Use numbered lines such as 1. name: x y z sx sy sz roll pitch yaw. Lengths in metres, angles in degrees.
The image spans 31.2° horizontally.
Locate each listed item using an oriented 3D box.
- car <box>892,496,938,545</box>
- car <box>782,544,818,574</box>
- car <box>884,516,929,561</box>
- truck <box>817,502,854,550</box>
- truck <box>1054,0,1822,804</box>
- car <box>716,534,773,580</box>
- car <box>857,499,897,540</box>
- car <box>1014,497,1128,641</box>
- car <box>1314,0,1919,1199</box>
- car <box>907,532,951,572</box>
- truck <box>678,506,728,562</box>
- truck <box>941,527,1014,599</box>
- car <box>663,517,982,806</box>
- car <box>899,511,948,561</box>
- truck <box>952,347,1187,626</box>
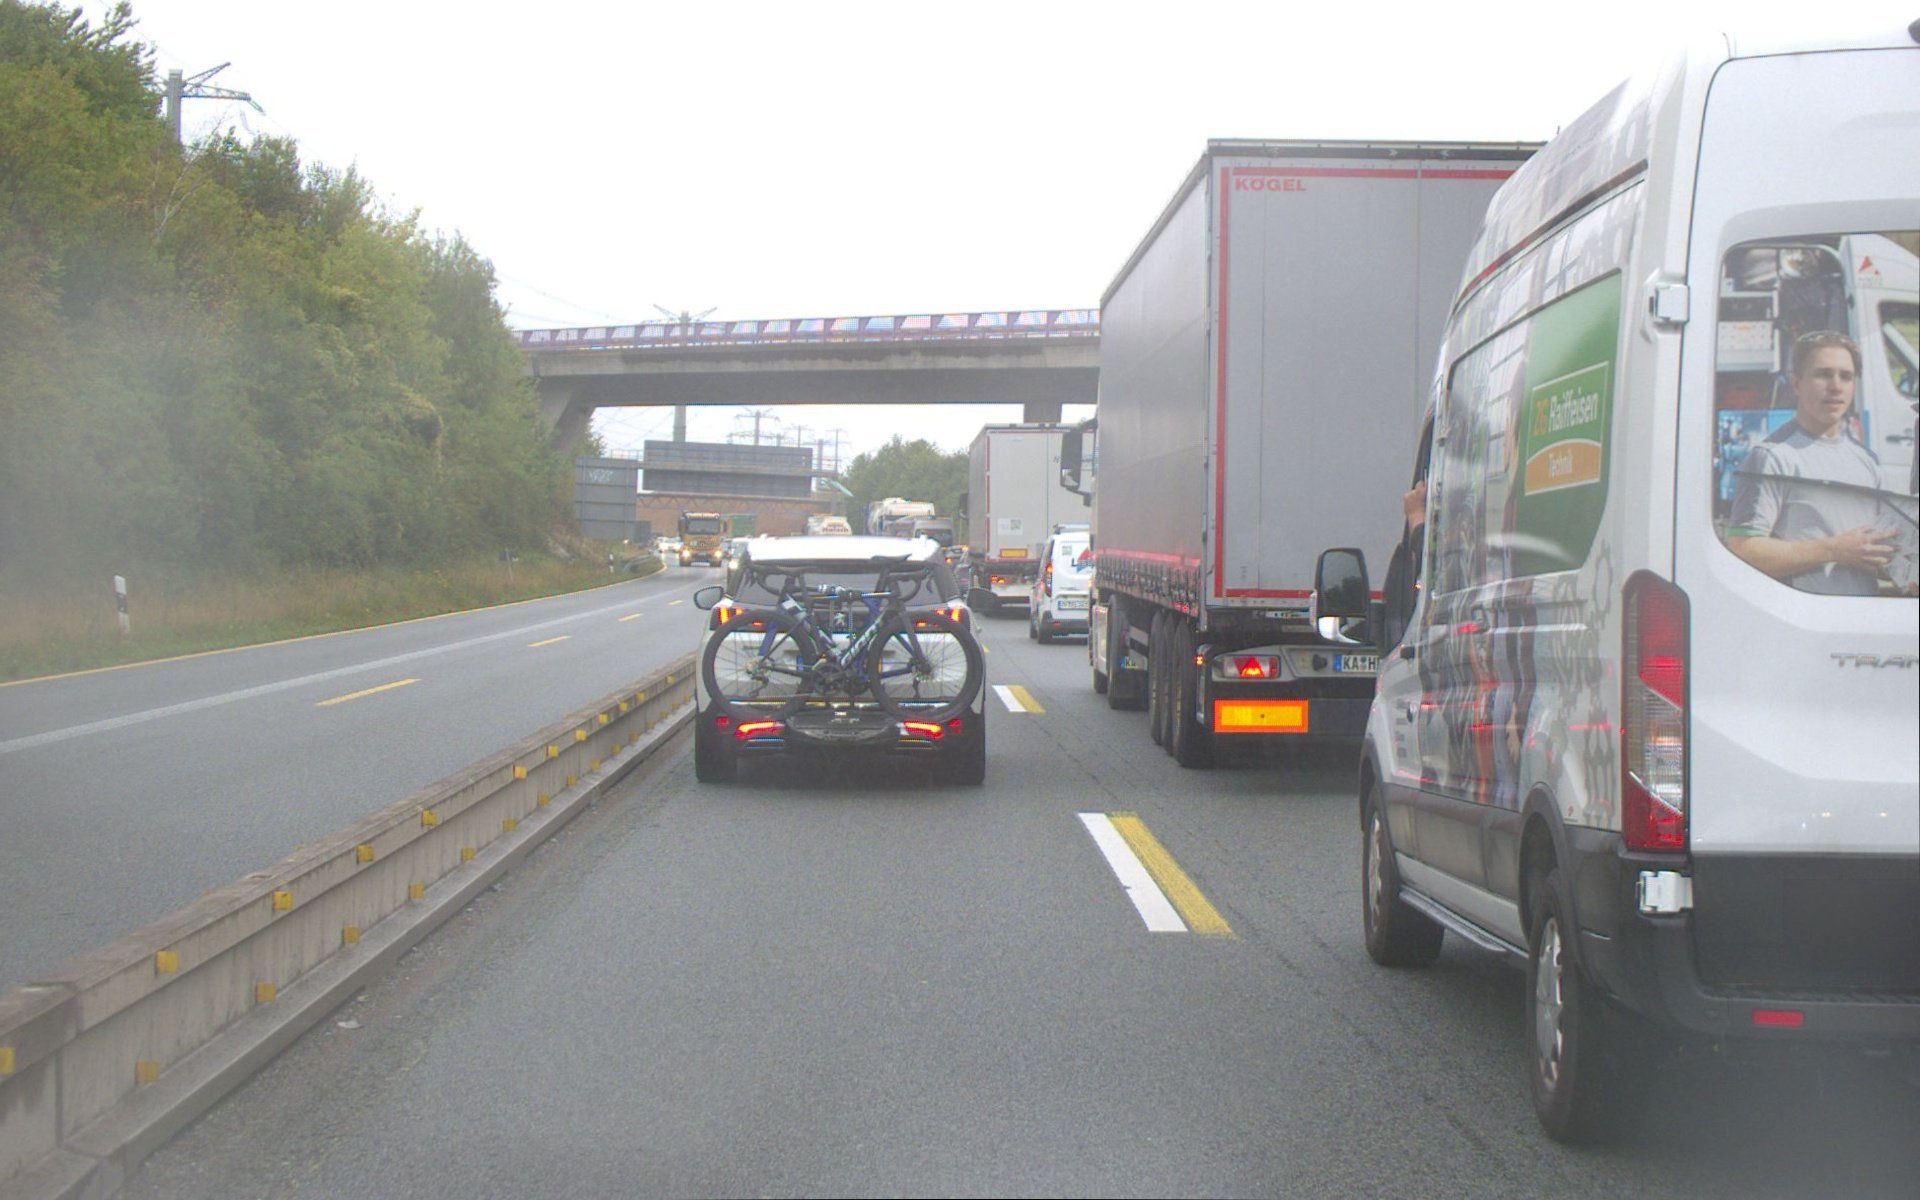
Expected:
1. car: -2.210 -3.905 169.602 2.239 2.299 4.572 1 1 -1
2. car: -8.850 -2.268 190.347 1.810 1.627 4.118 1 1 0
3. car: -2.412 -2.785 156.762 1.993 2.007 4.000 1 1 -1
4. truck: -9.074 -5.388 251.656 2.535 3.341 12.051 1 1 -2
5. truck: 3.079 -1.762 30.285 3.979 5.654 20.376 1 1 0
6. car: -7.507 -1.497 119.948 1.794 1.550 4.000 1 1 -1
7. car: -4.384 -4.248 182.238 1.993 2.119 4.527 1 1 -1
8. car: 1.733 -0.495 54.902 1.670 2.173 4.535 1 1 0
9. car: 2.460 -0.009 10.419 2.144 2.667 6.117 1 1 0
10. car: -1.169 -1.814 131.000 1.638 1.492 3.666 1 1 -1
11. truck: -15.995 -4.084 214.807 2.535 3.341 12.051 1 1 -2
12. truck: 0.486 -1.053 98.992 1.993 2.007 4.000 1 1 -1
13. car: -0.777 0.331 22.041 1.810 1.632 4.635 1 1 0
14. car: -1.528 -2.634 142.718 1.993 2.007 4.000 1 1 -1
15. truck: 2.314 -2.428 80.804 4.743 5.654 20.376 1 1 0
